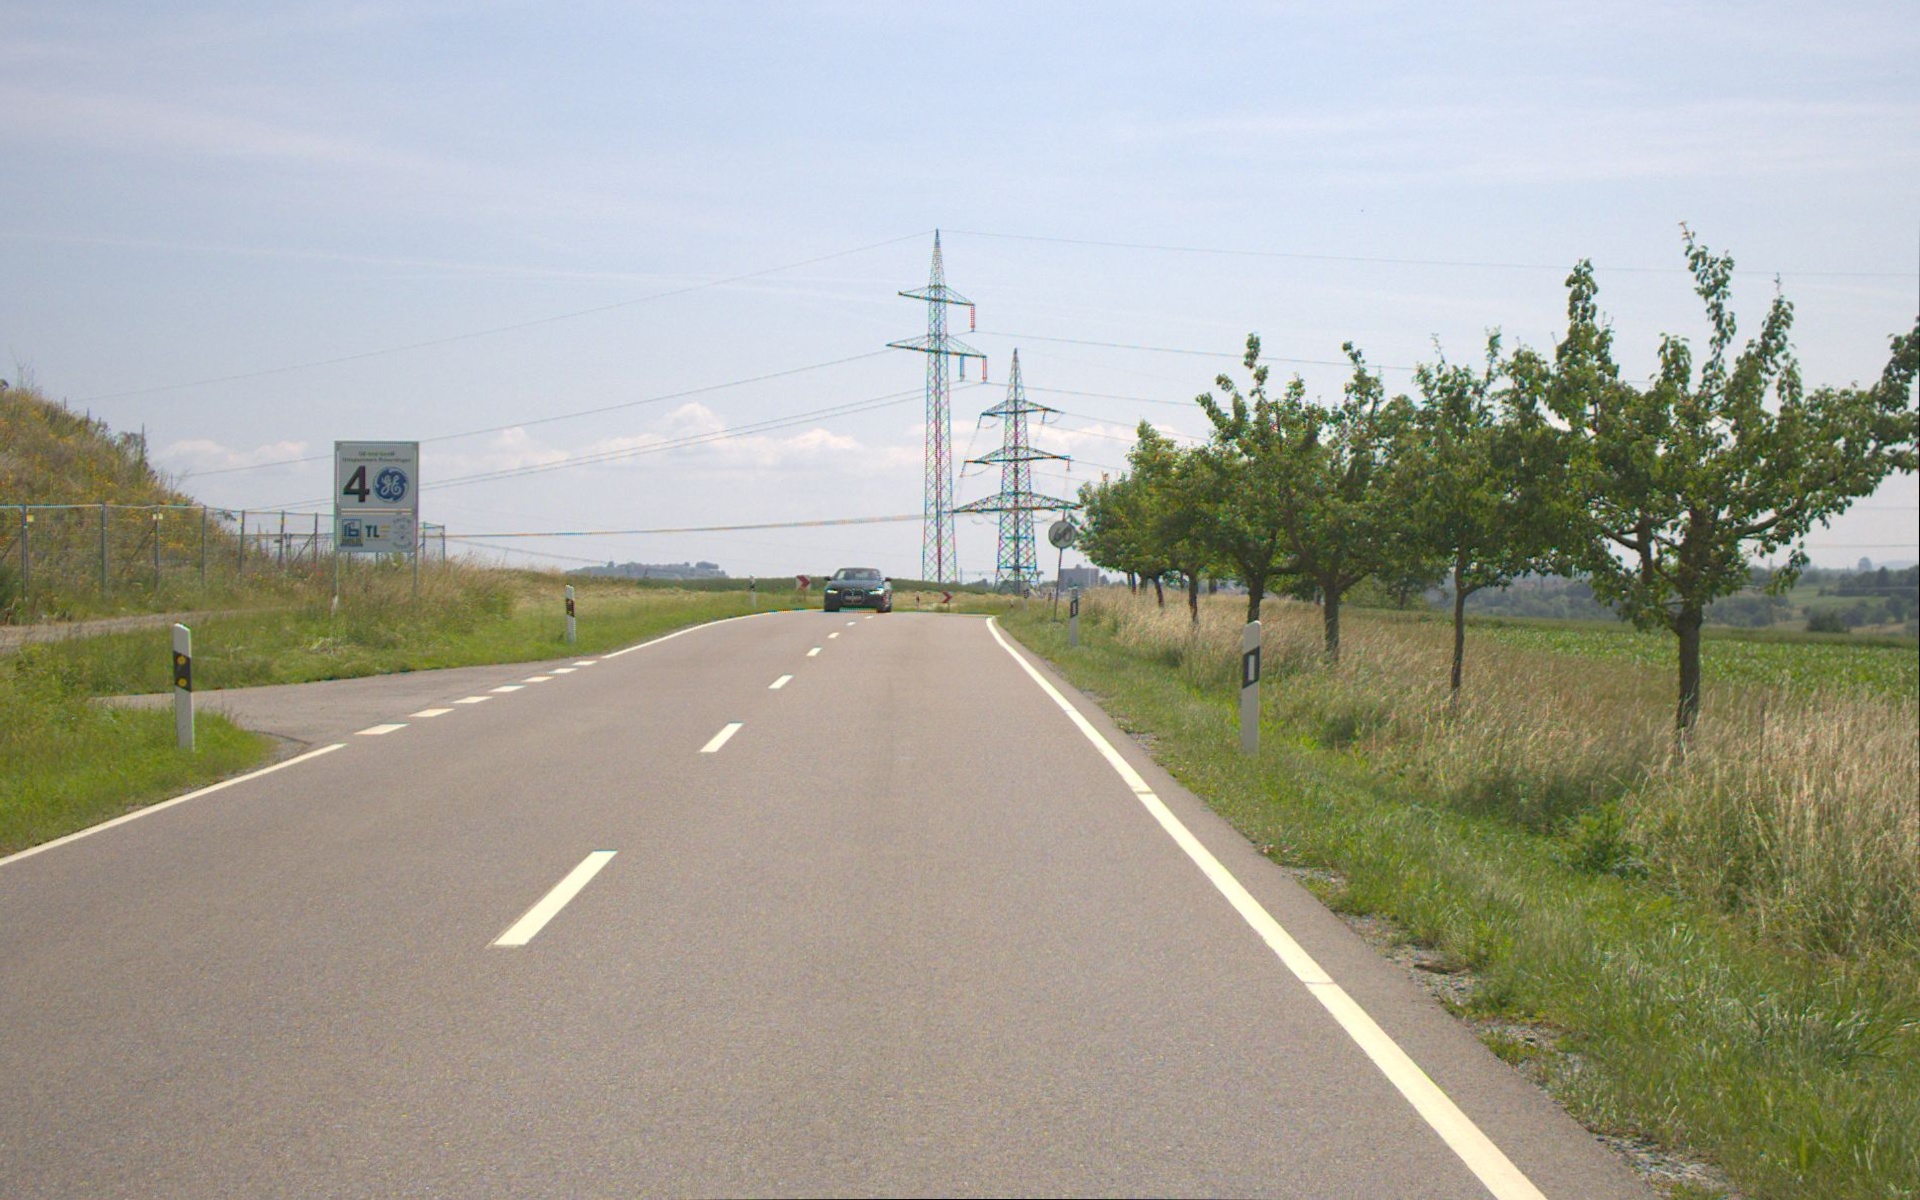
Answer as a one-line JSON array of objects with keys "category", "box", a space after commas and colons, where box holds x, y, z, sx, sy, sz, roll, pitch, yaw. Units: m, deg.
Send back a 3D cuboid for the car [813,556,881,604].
[{"category": "car", "box": [-3.395, -0.623, 103.801, 1.822, 1.406, 4.000, 1, 1, 1]}]
